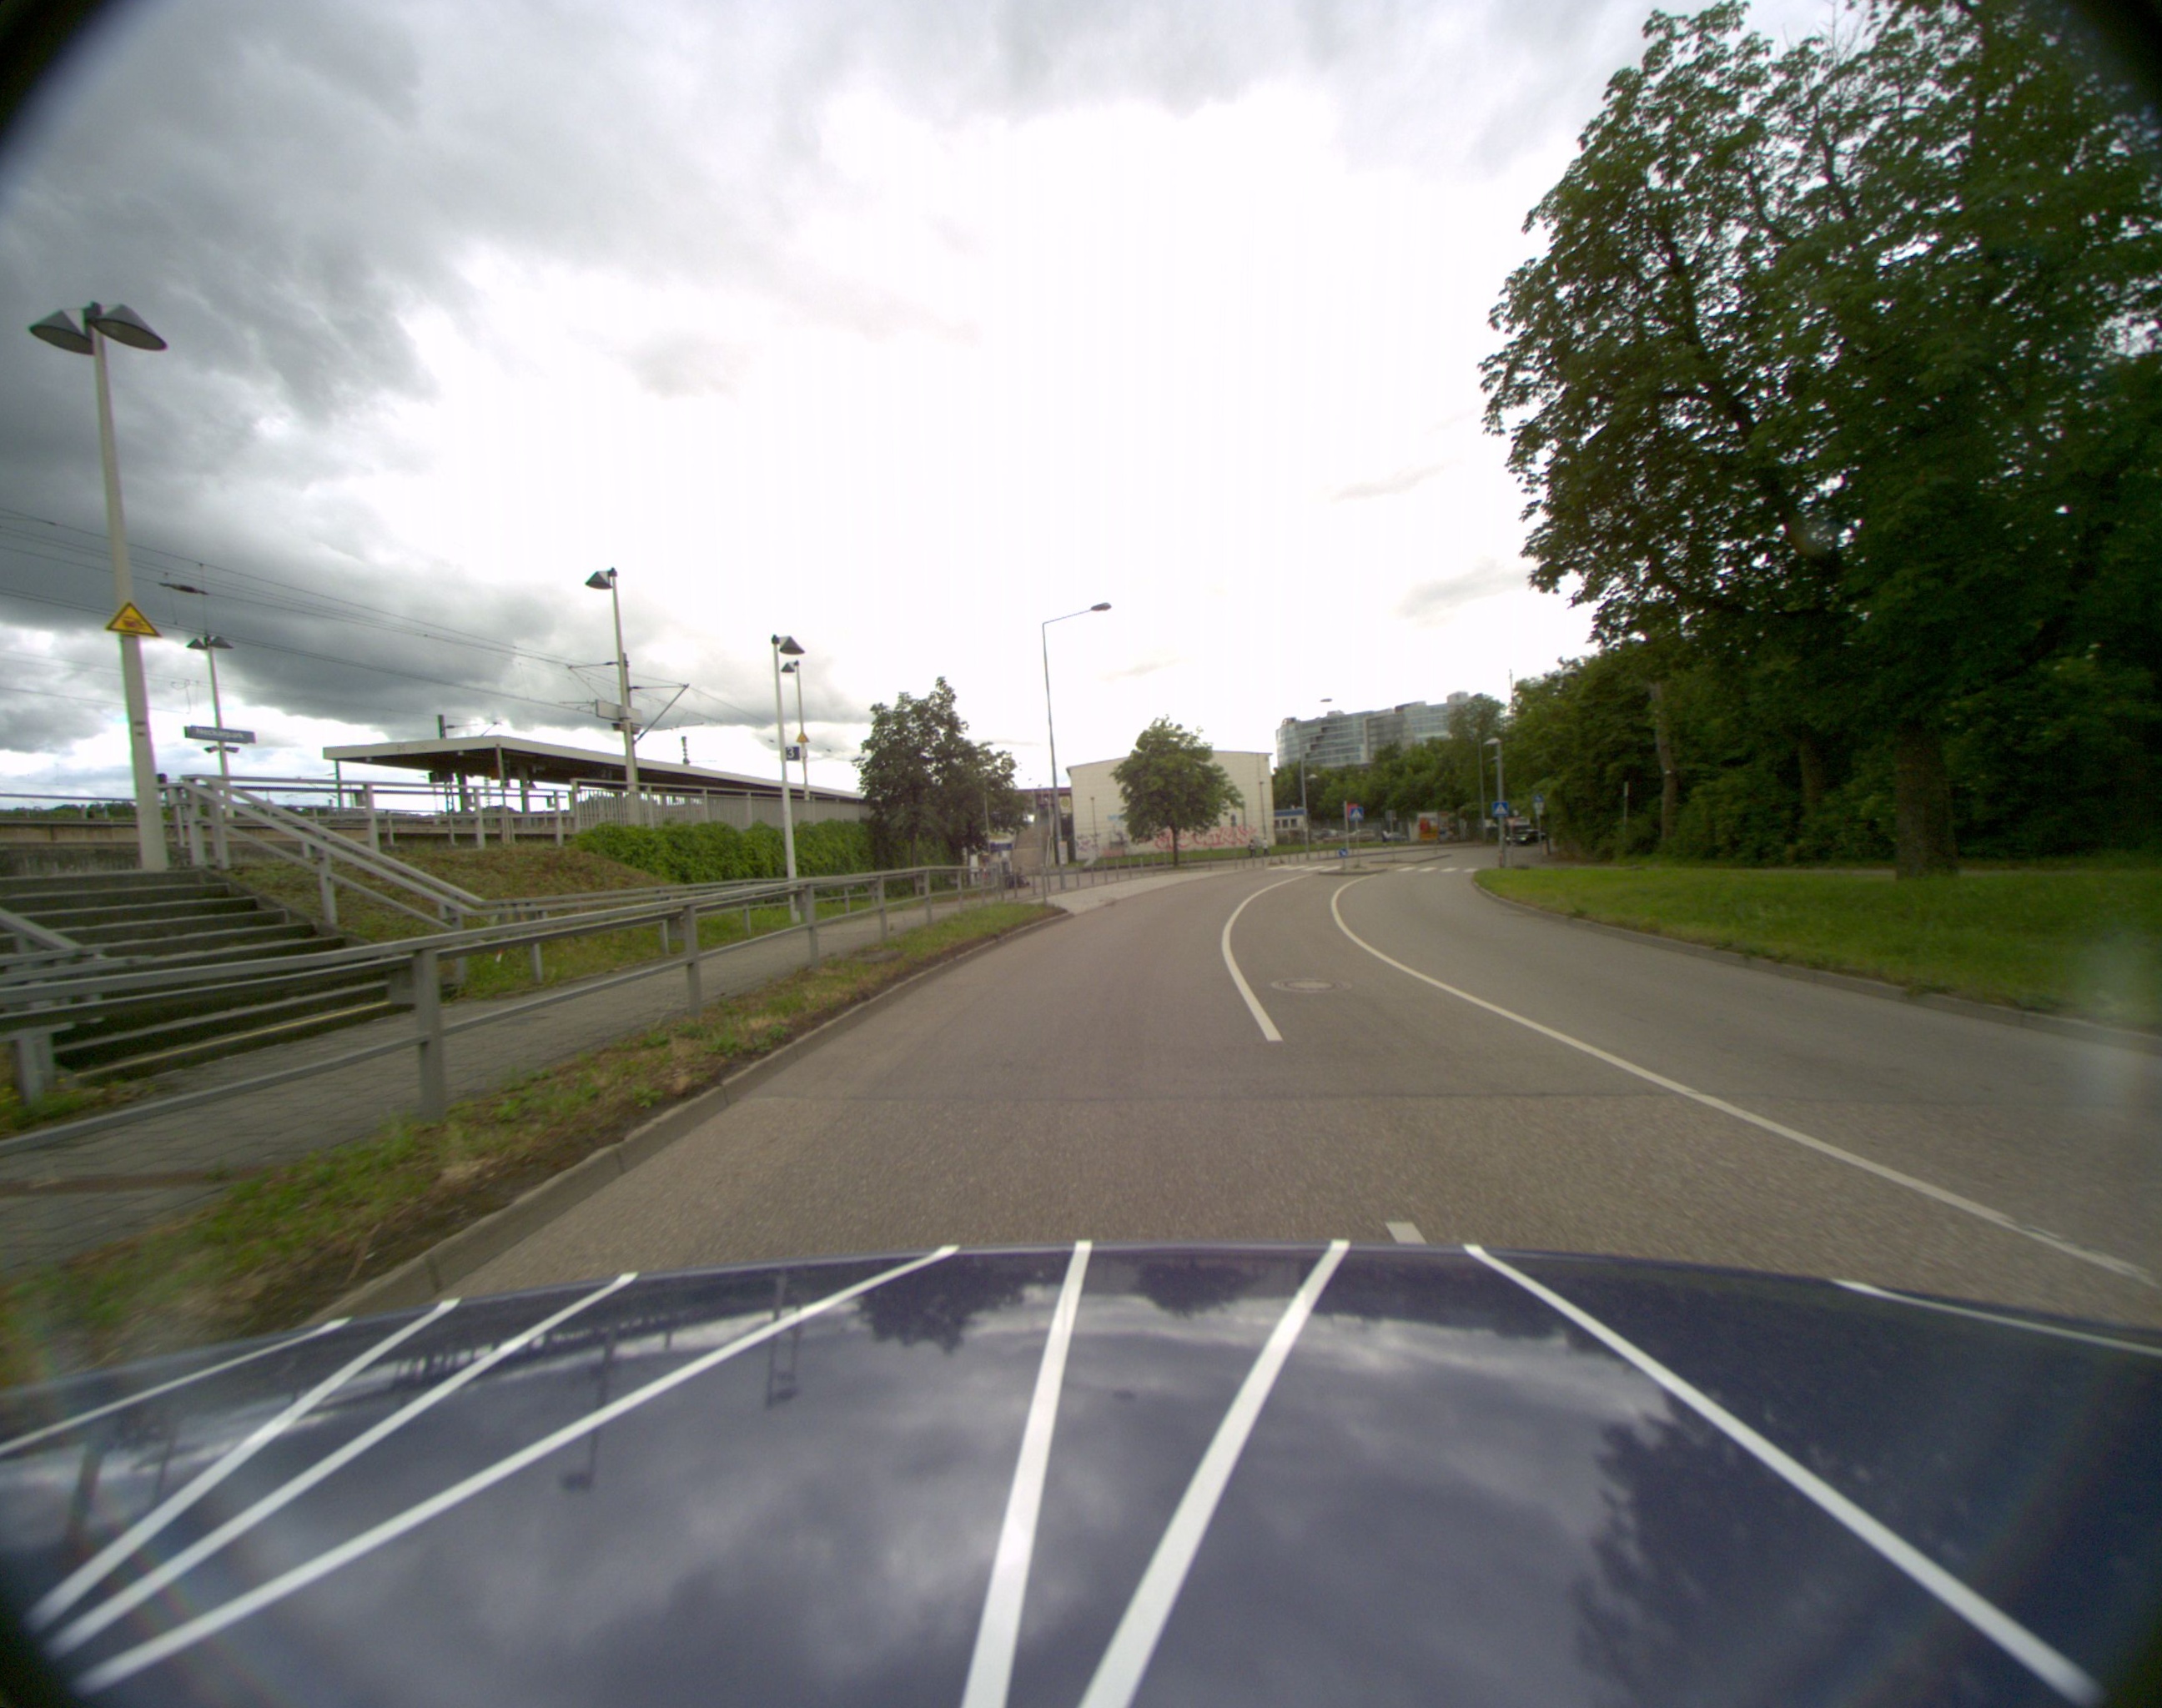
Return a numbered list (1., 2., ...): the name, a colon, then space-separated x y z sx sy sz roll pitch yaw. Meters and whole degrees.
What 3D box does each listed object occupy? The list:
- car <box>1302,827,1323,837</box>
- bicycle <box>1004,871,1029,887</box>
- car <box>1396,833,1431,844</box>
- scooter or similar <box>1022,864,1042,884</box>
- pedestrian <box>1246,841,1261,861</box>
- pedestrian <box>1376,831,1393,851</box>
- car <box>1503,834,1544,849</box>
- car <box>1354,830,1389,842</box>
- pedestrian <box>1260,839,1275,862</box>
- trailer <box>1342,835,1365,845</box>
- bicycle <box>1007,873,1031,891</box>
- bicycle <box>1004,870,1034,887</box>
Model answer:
1. car: 32.473 -3.029 106.635 1.530 1.324 3.680 -2 2 -7
2. bicycle: -3.947 1.515 46.323 1.576 0.849 0.464 -6 -1 41
3. car: 39.076 -1.811 89.321 3.368 1.245 1.470 0 3 -3
4. scooter or similar: -3.174 1.306 48.954 1.188 1.199 0.469 -5 0 41
5. pedestrian: 13.896 -0.260 61.153 0.802 1.575 0.801 -5 3 -13
6. pedestrian: 26.618 -1.176 66.628 0.940 1.675 0.849 -5 3 -16
7. car: 39.510 -1.110 67.771 3.374 1.245 1.468 -1 3 -25
8. car: 36.892 -2.317 96.525 3.809 1.523 1.564 -1 3 -3
9. pedestrian: 14.849 -0.284 60.441 0.749 1.693 0.815 -5 3 -13
10. trailer: 31.883 -1.659 88.960 1.848 1.131 2.639 -3 1 2
11. bicycle: -3.656 1.666 45.032 0.695 0.983 1.489 -4 -1 -34
12. bicycle: -3.884 1.531 47.614 1.967 0.860 0.512 -7 -2 38
